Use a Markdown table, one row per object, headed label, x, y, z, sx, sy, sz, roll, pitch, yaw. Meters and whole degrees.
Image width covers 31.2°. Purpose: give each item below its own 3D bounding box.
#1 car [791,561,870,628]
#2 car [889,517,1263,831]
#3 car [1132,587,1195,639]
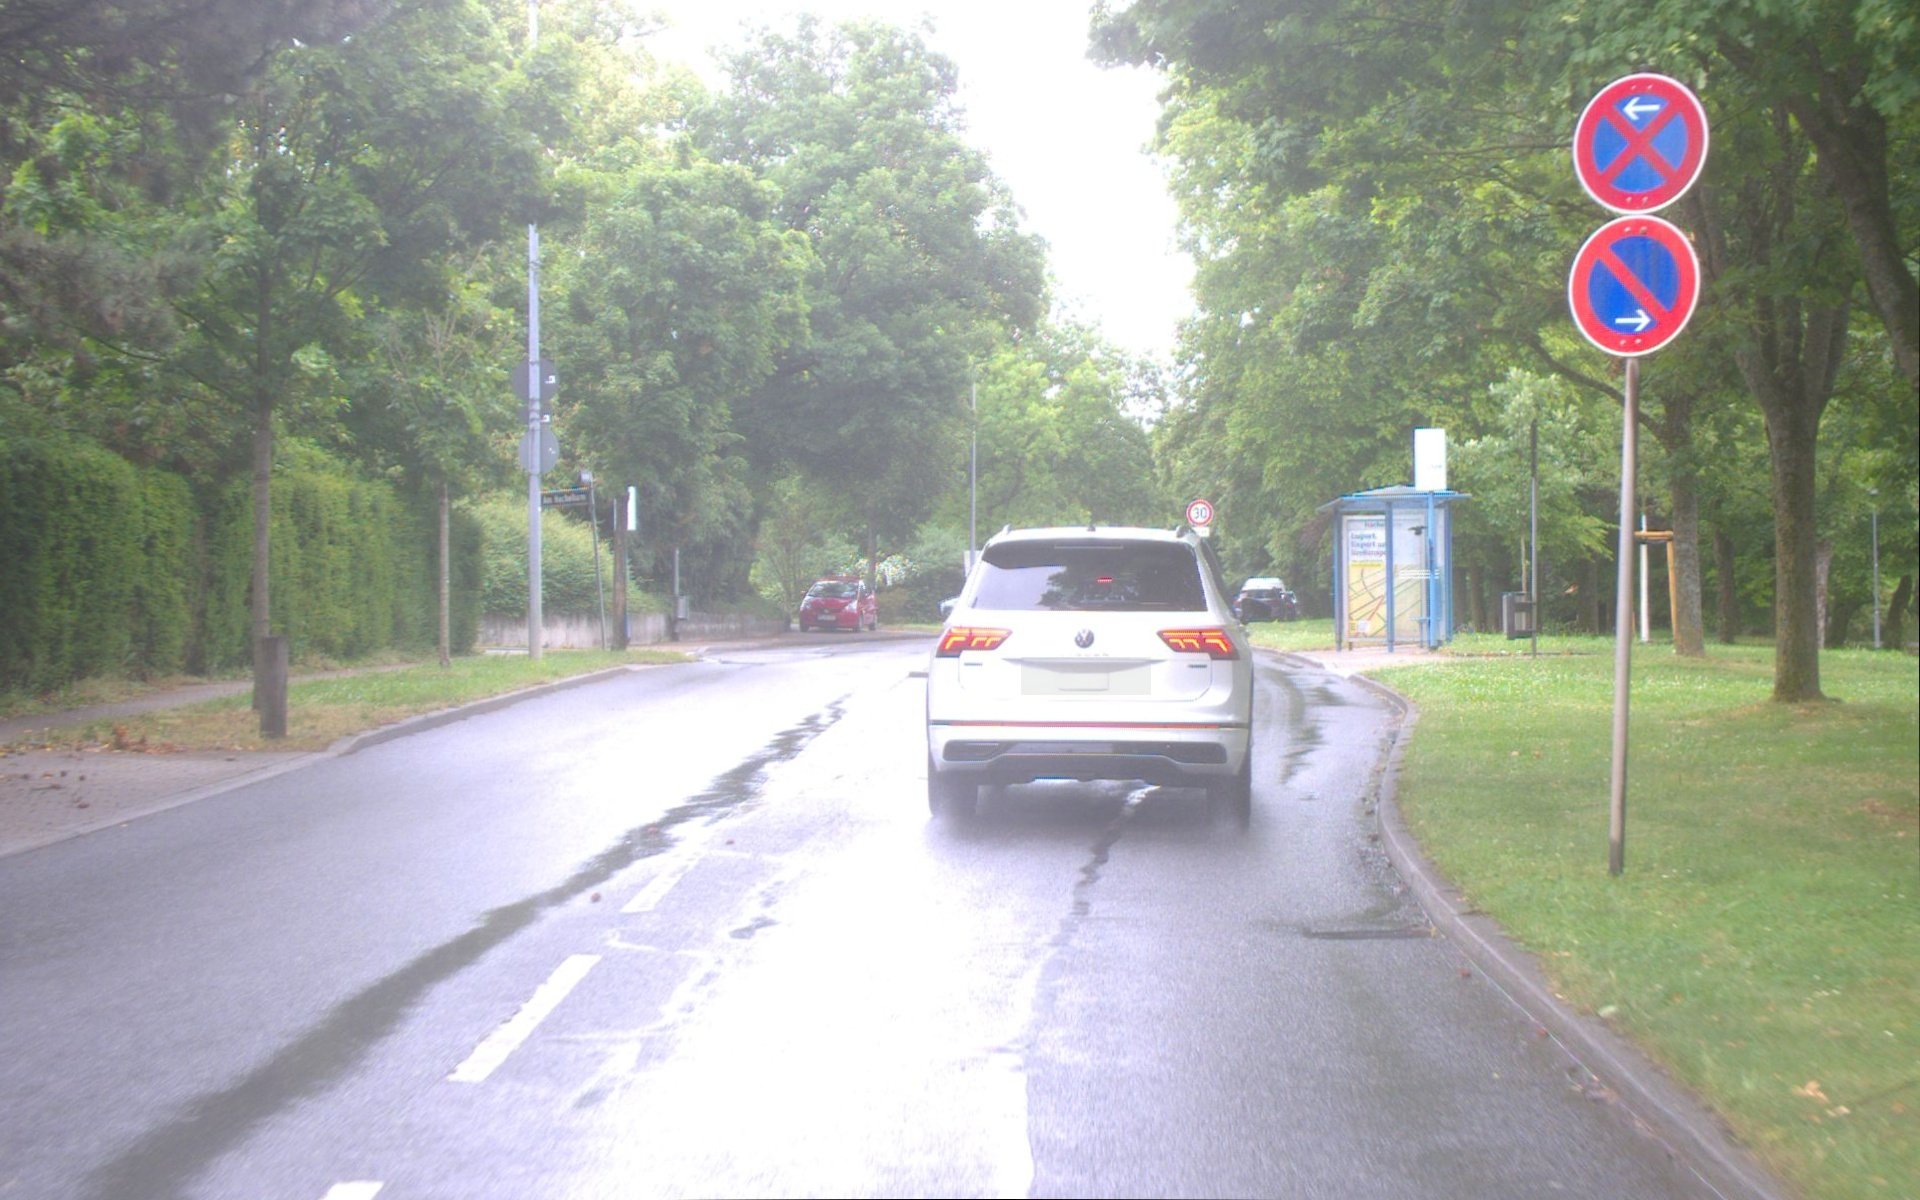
| label | x | y | z | sx | sy | sz | roll | pitch | yaw |
| --- | --- | --- | --- | --- | --- | --- | --- | --- | --- |
| car | -3.613 | -0.131 | 96.551 | 1.993 | 1.757 | 4.000 | 2 | -1 | 0 |
| car | 0.741 | 0.367 | 20.345 | 1.974 | 1.647 | 4.176 | 1 | 1 | 4 |
| car | 7.460 | 0.484 | 126.297 | 1.993 | 1.798 | 4.000 | 2 | -1 | 0 |
